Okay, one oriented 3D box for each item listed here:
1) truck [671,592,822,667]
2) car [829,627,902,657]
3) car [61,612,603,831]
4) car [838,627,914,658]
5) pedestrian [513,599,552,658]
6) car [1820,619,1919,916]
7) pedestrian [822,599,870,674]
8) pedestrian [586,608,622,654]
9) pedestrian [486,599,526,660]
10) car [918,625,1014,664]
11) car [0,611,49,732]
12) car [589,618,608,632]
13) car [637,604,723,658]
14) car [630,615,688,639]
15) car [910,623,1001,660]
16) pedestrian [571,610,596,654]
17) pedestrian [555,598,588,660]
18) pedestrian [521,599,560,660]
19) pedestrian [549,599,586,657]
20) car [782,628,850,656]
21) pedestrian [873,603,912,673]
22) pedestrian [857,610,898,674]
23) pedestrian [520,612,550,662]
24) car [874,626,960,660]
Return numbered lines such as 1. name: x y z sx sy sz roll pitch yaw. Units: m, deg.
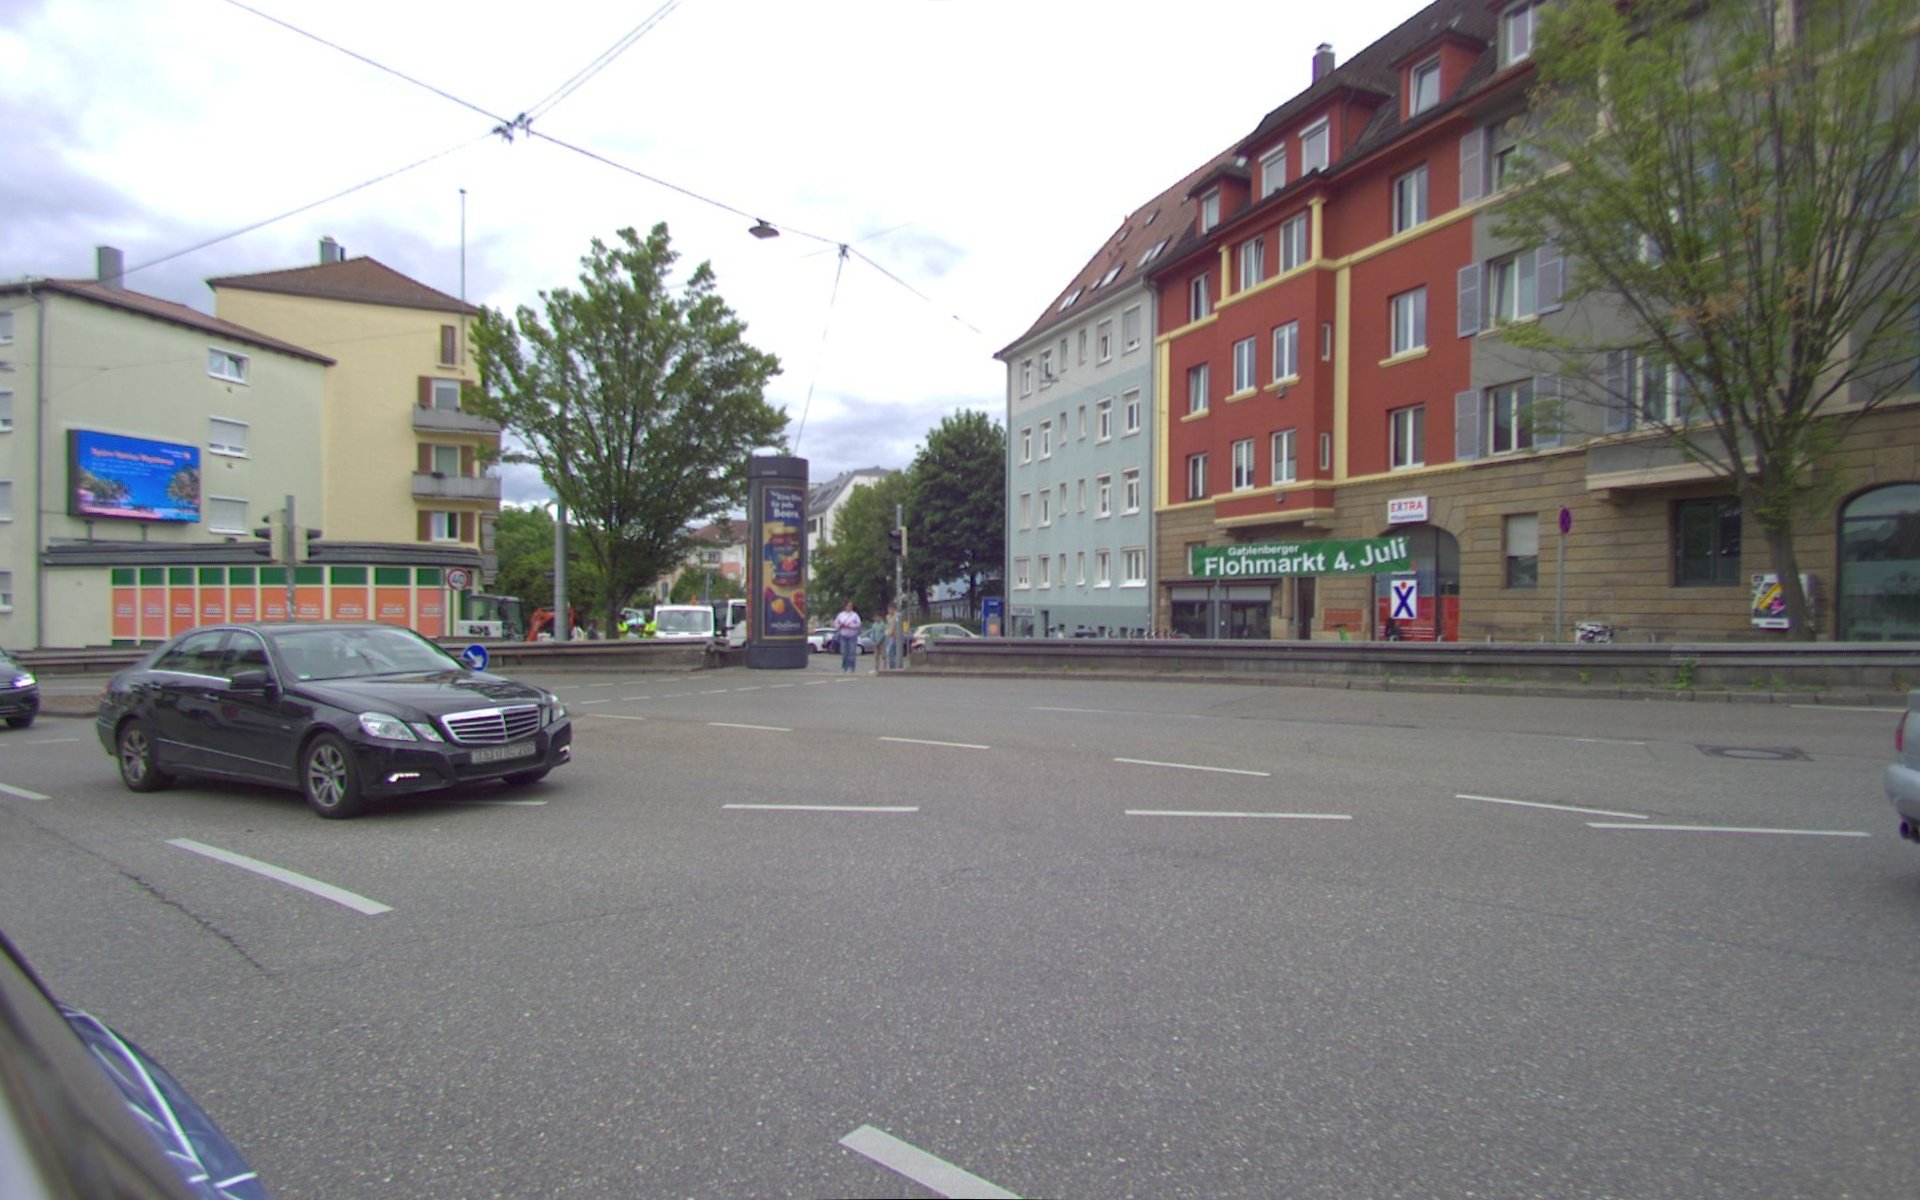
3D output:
1. truck: -8.456 1.258 40.889 2.756 2.744 6.402 -2 -3 24
2. car: -5.425 2.434 58.403 3.884 1.611 1.890 -1 0 6
3. car: -5.462 0.846 8.677 4.716 1.430 1.825 -1 0 28
4. car: -4.607 2.326 55.591 3.884 1.611 1.890 -1 0 6
5. pedestrian: -12.127 0.794 28.710 0.645 1.631 0.767 -1 0 21
6. car: 6.415 0.700 3.965 4.230 1.352 1.698 -3 -1 17
7. pedestrian: -2.498 0.788 22.209 0.798 1.595 0.700 -1 0 24
8. pedestrian: -15.826 1.361 44.951 1.265 1.973 0.918 -1 0 35
9. pedestrian: -12.303 0.797 27.460 0.644 1.631 0.768 -1 0 16
10. car: 0.274 1.924 44.517 3.895 1.611 1.885 -1 0 14
11. car: -15.512 1.008 15.170 4.720 1.626 1.836 1 1 36
12. car: -45.232 3.080 126.733 1.861 1.611 3.944 -1 0 -14
13. car: -8.885 0.935 32.433 2.177 1.583 4.486 -1 0 -9
14. car: -22.420 1.982 75.466 1.889 1.717 3.886 -1 0 35
15. car: -0.187 1.930 47.282 3.895 1.611 1.885 -1 0 14
16. pedestrian: -14.615 1.226 39.278 0.853 1.631 1.216 -1 0 -19
17. pedestrian: -10.416 0.772 27.153 0.551 1.631 0.601 -1 0 23
18. pedestrian: -11.342 0.784 27.378 0.761 1.631 0.650 -1 0 0
19. pedestrian: -11.103 0.781 28.627 0.650 1.631 0.761 -1 0 41
20. car: -8.990 2.617 63.429 3.884 1.611 1.890 -1 0 6
21. pedestrian: -1.427 0.792 21.366 0.598 1.443 0.600 -1 0 25
22. pedestrian: -1.775 0.900 21.890 0.625 1.351 0.658 -1 0 25
23. pedestrian: -14.222 1.222 33.864 0.853 1.631 0.921 -1 0 -19
24. car: -2.123 2.117 50.193 3.895 1.611 1.885 -1 0 14
